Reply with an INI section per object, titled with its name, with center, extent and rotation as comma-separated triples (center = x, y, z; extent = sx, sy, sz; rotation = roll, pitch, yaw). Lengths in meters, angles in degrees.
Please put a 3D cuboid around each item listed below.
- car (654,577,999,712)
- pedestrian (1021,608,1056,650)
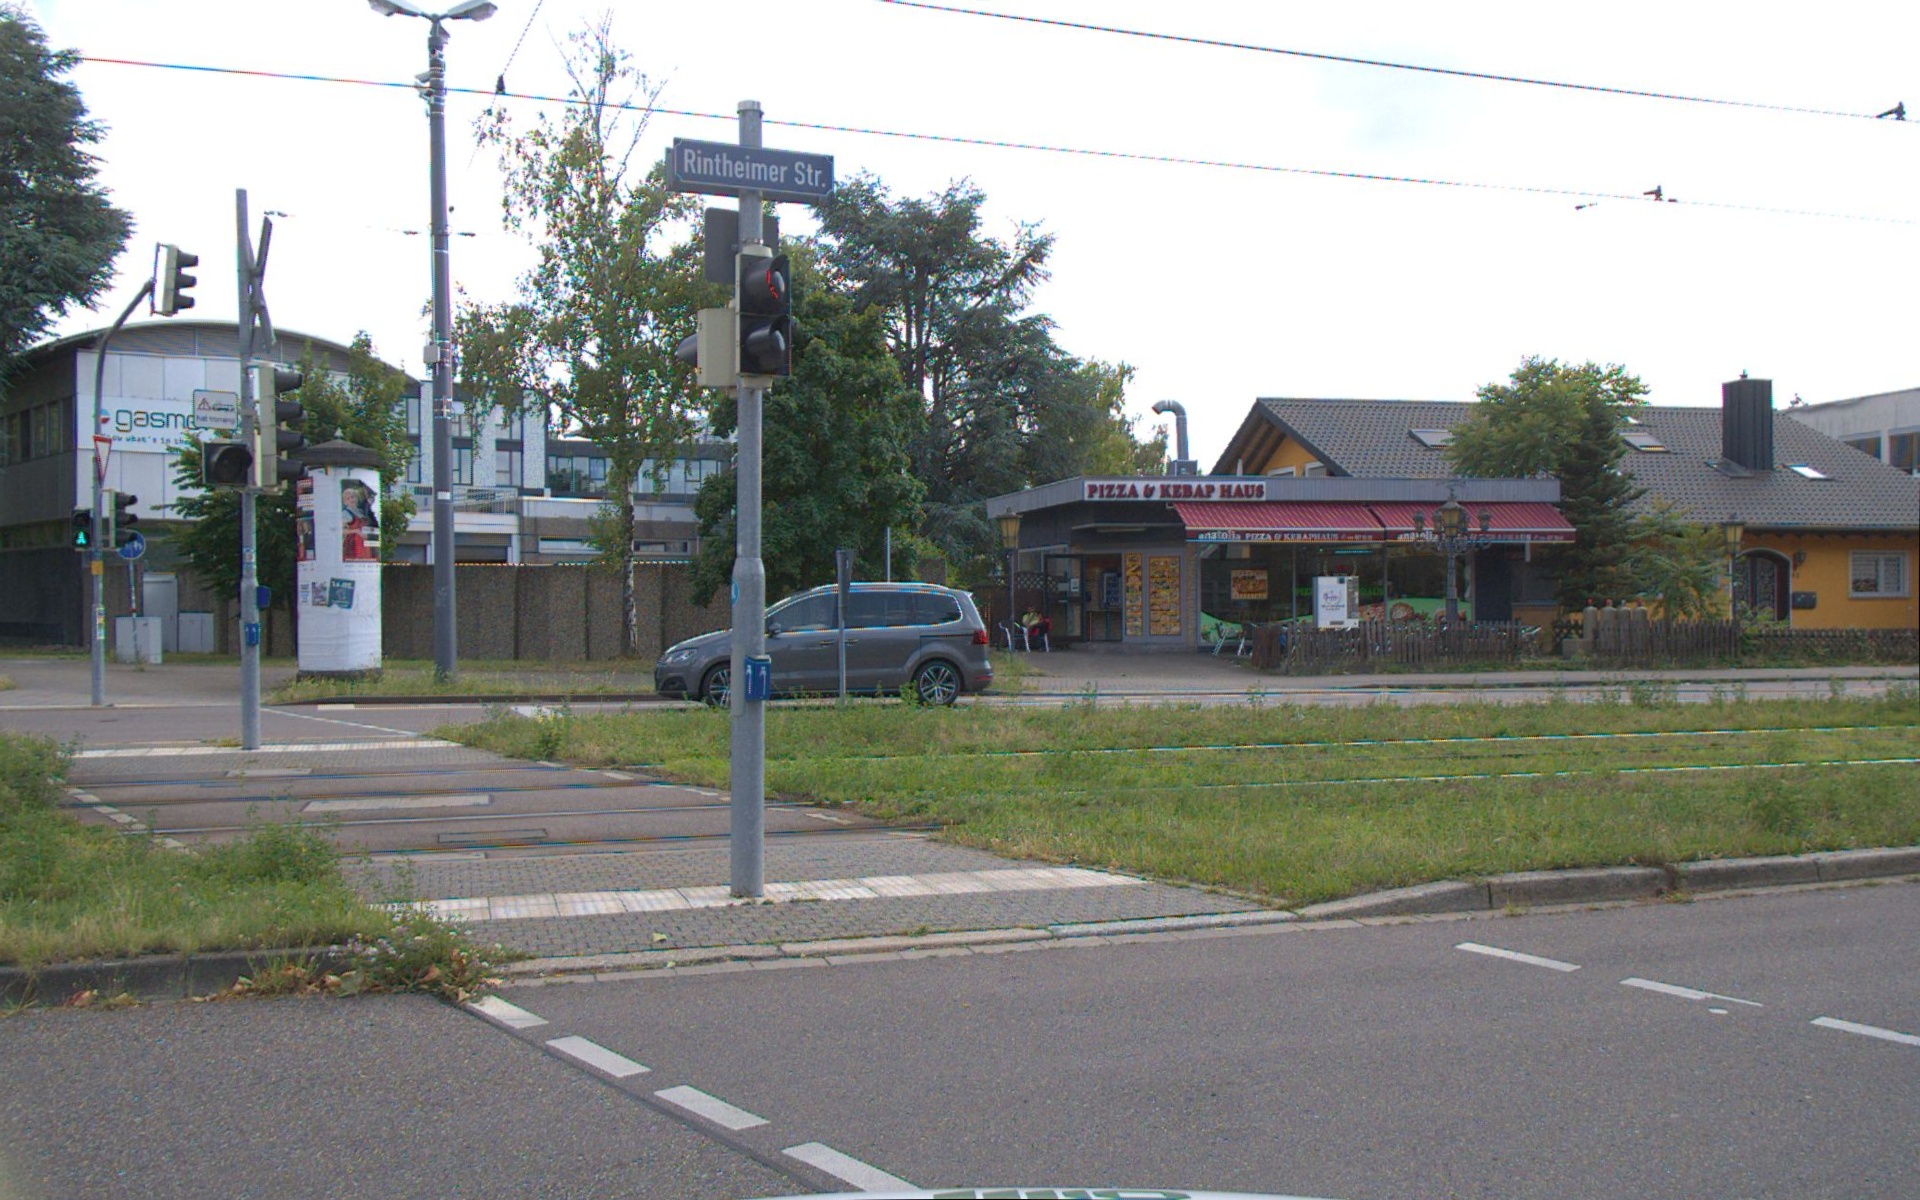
[car]
center = -1.927, 0.576, 23.264
extent = 4.642, 1.752, 1.994
rotation = -1, 0, -12
[pedestrian]
center = 1.861, 0.686, 39.203
extent = 0.711, 0.945, 0.776
rotation = 0, 2, -7
